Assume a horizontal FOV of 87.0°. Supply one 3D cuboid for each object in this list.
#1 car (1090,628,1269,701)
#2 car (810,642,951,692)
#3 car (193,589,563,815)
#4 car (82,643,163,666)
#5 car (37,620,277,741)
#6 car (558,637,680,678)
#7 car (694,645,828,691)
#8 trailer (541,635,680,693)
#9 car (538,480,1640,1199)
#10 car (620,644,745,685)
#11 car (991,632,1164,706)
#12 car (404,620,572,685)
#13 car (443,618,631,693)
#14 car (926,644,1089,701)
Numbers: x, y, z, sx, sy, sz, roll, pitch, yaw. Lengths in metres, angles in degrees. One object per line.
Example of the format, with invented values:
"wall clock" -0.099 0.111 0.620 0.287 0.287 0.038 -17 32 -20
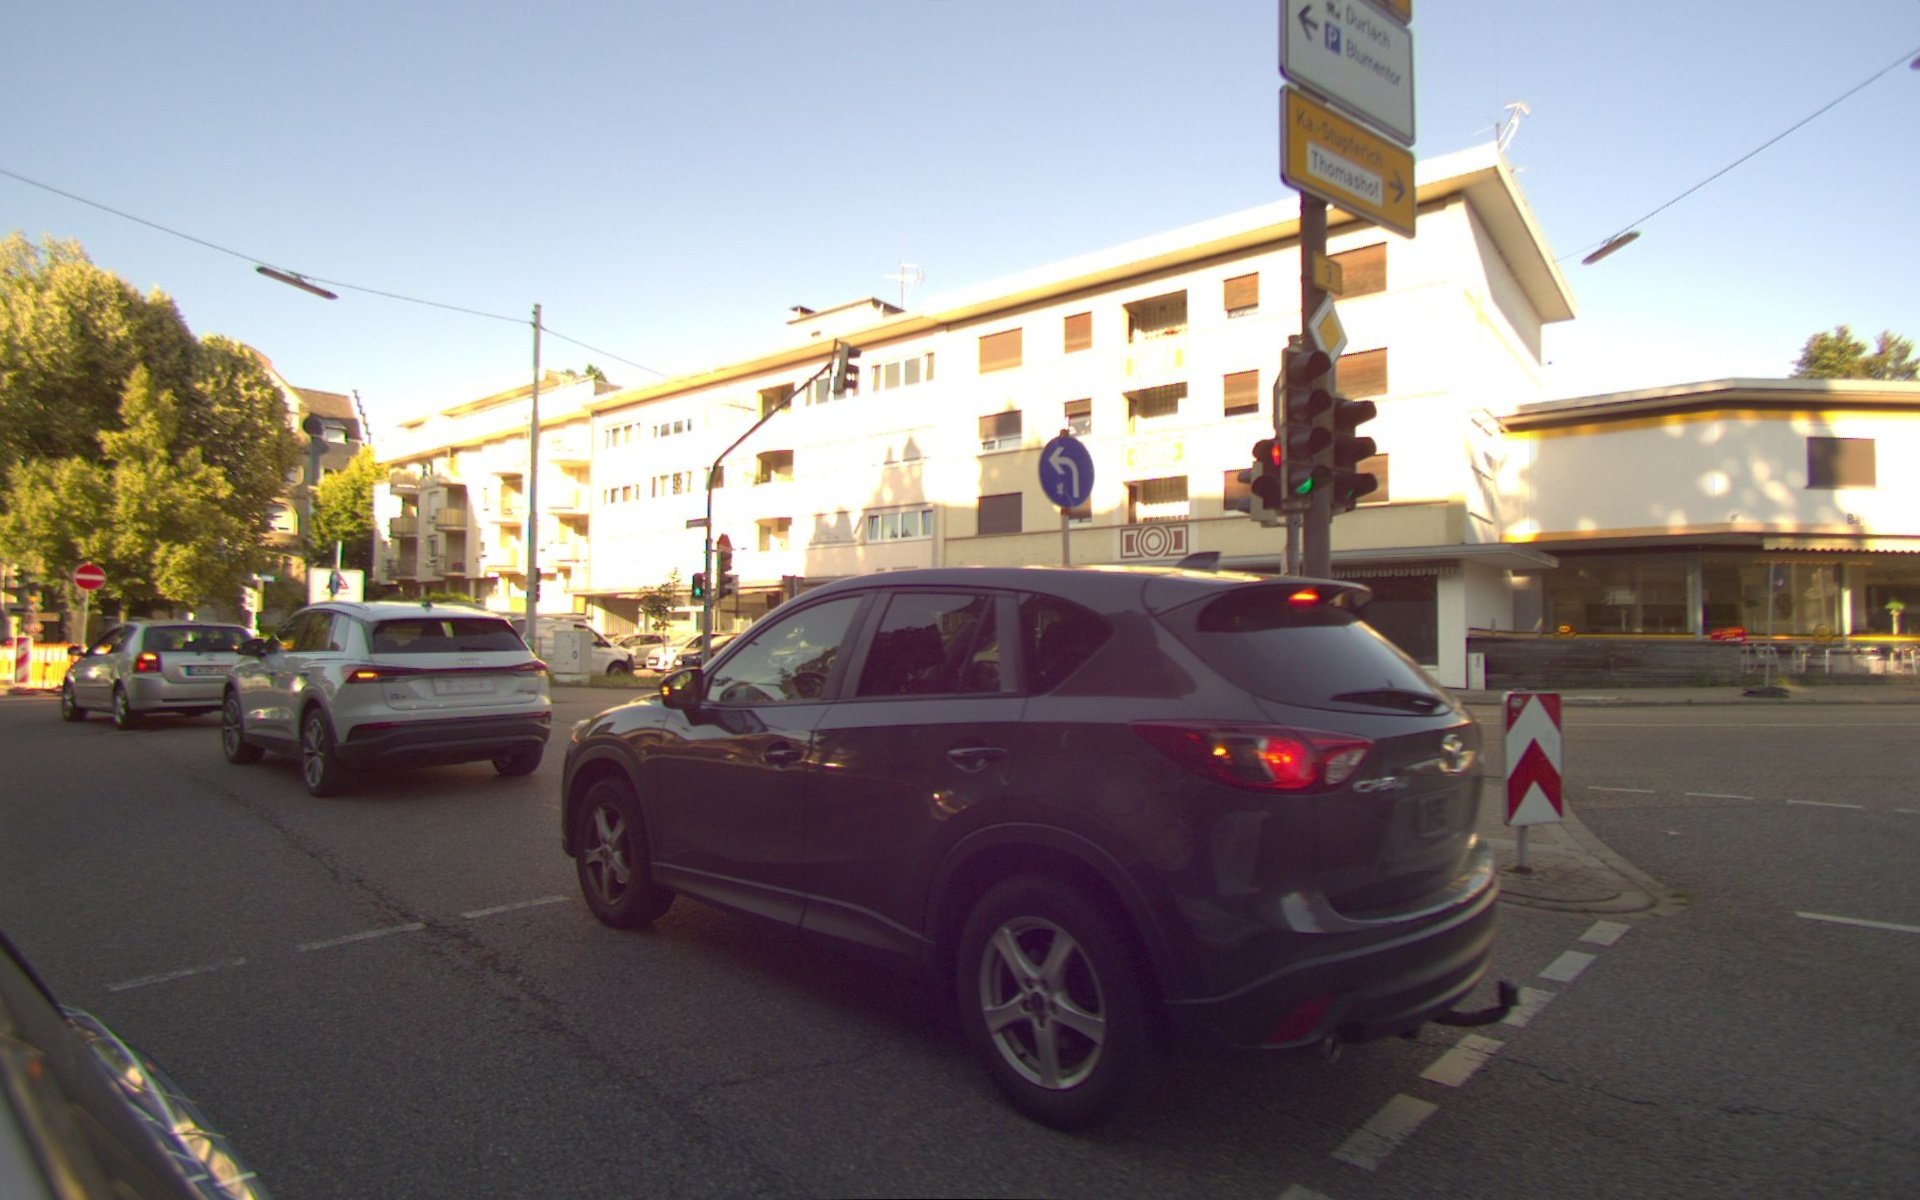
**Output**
"car" 5.502 1.546 25.175 4.256 1.623 2.005 1 -3 -36
"car" -2.464 2.081 32.106 2.000 1.409 4.267 -3 -3 42
"car" -5.709 0.846 9.659 4.533 1.661 1.756 -3 -3 42
"car" -56.625 3.692 68.492 2.000 1.564 3.944 -3 -4 42
"car" -11.578 1.083 14.518 4.090 1.491 1.759 -3 -3 38
"car" -13.759 2.292 41.020 2.000 1.522 4.267 -3 -3 42
"car" -6.873 2.318 35.255 2.000 1.409 4.267 -3 -3 42
"trailer" -9.342 1.678 27.185 1.572 1.407 3.222 -3 -3 38
"car" 0.085 0.673 4.249 4.285 1.661 1.931 -3 -3 44
"car" -10.633 2.438 38.945 2.000 1.409 4.267 -3 -3 42
"car" 3.118 1.740 26.508 4.256 1.728 2.005 1 -3 -36
"car" -14.478 1.559 31.202 2.000 1.866 4.266 -3 -3 43
"car" -12.184 1.547 29.419 2.114 1.980 4.622 -3 -3 38
"car" 1.364 1.984 28.386 4.256 1.409 2.005 1 -3 -36
